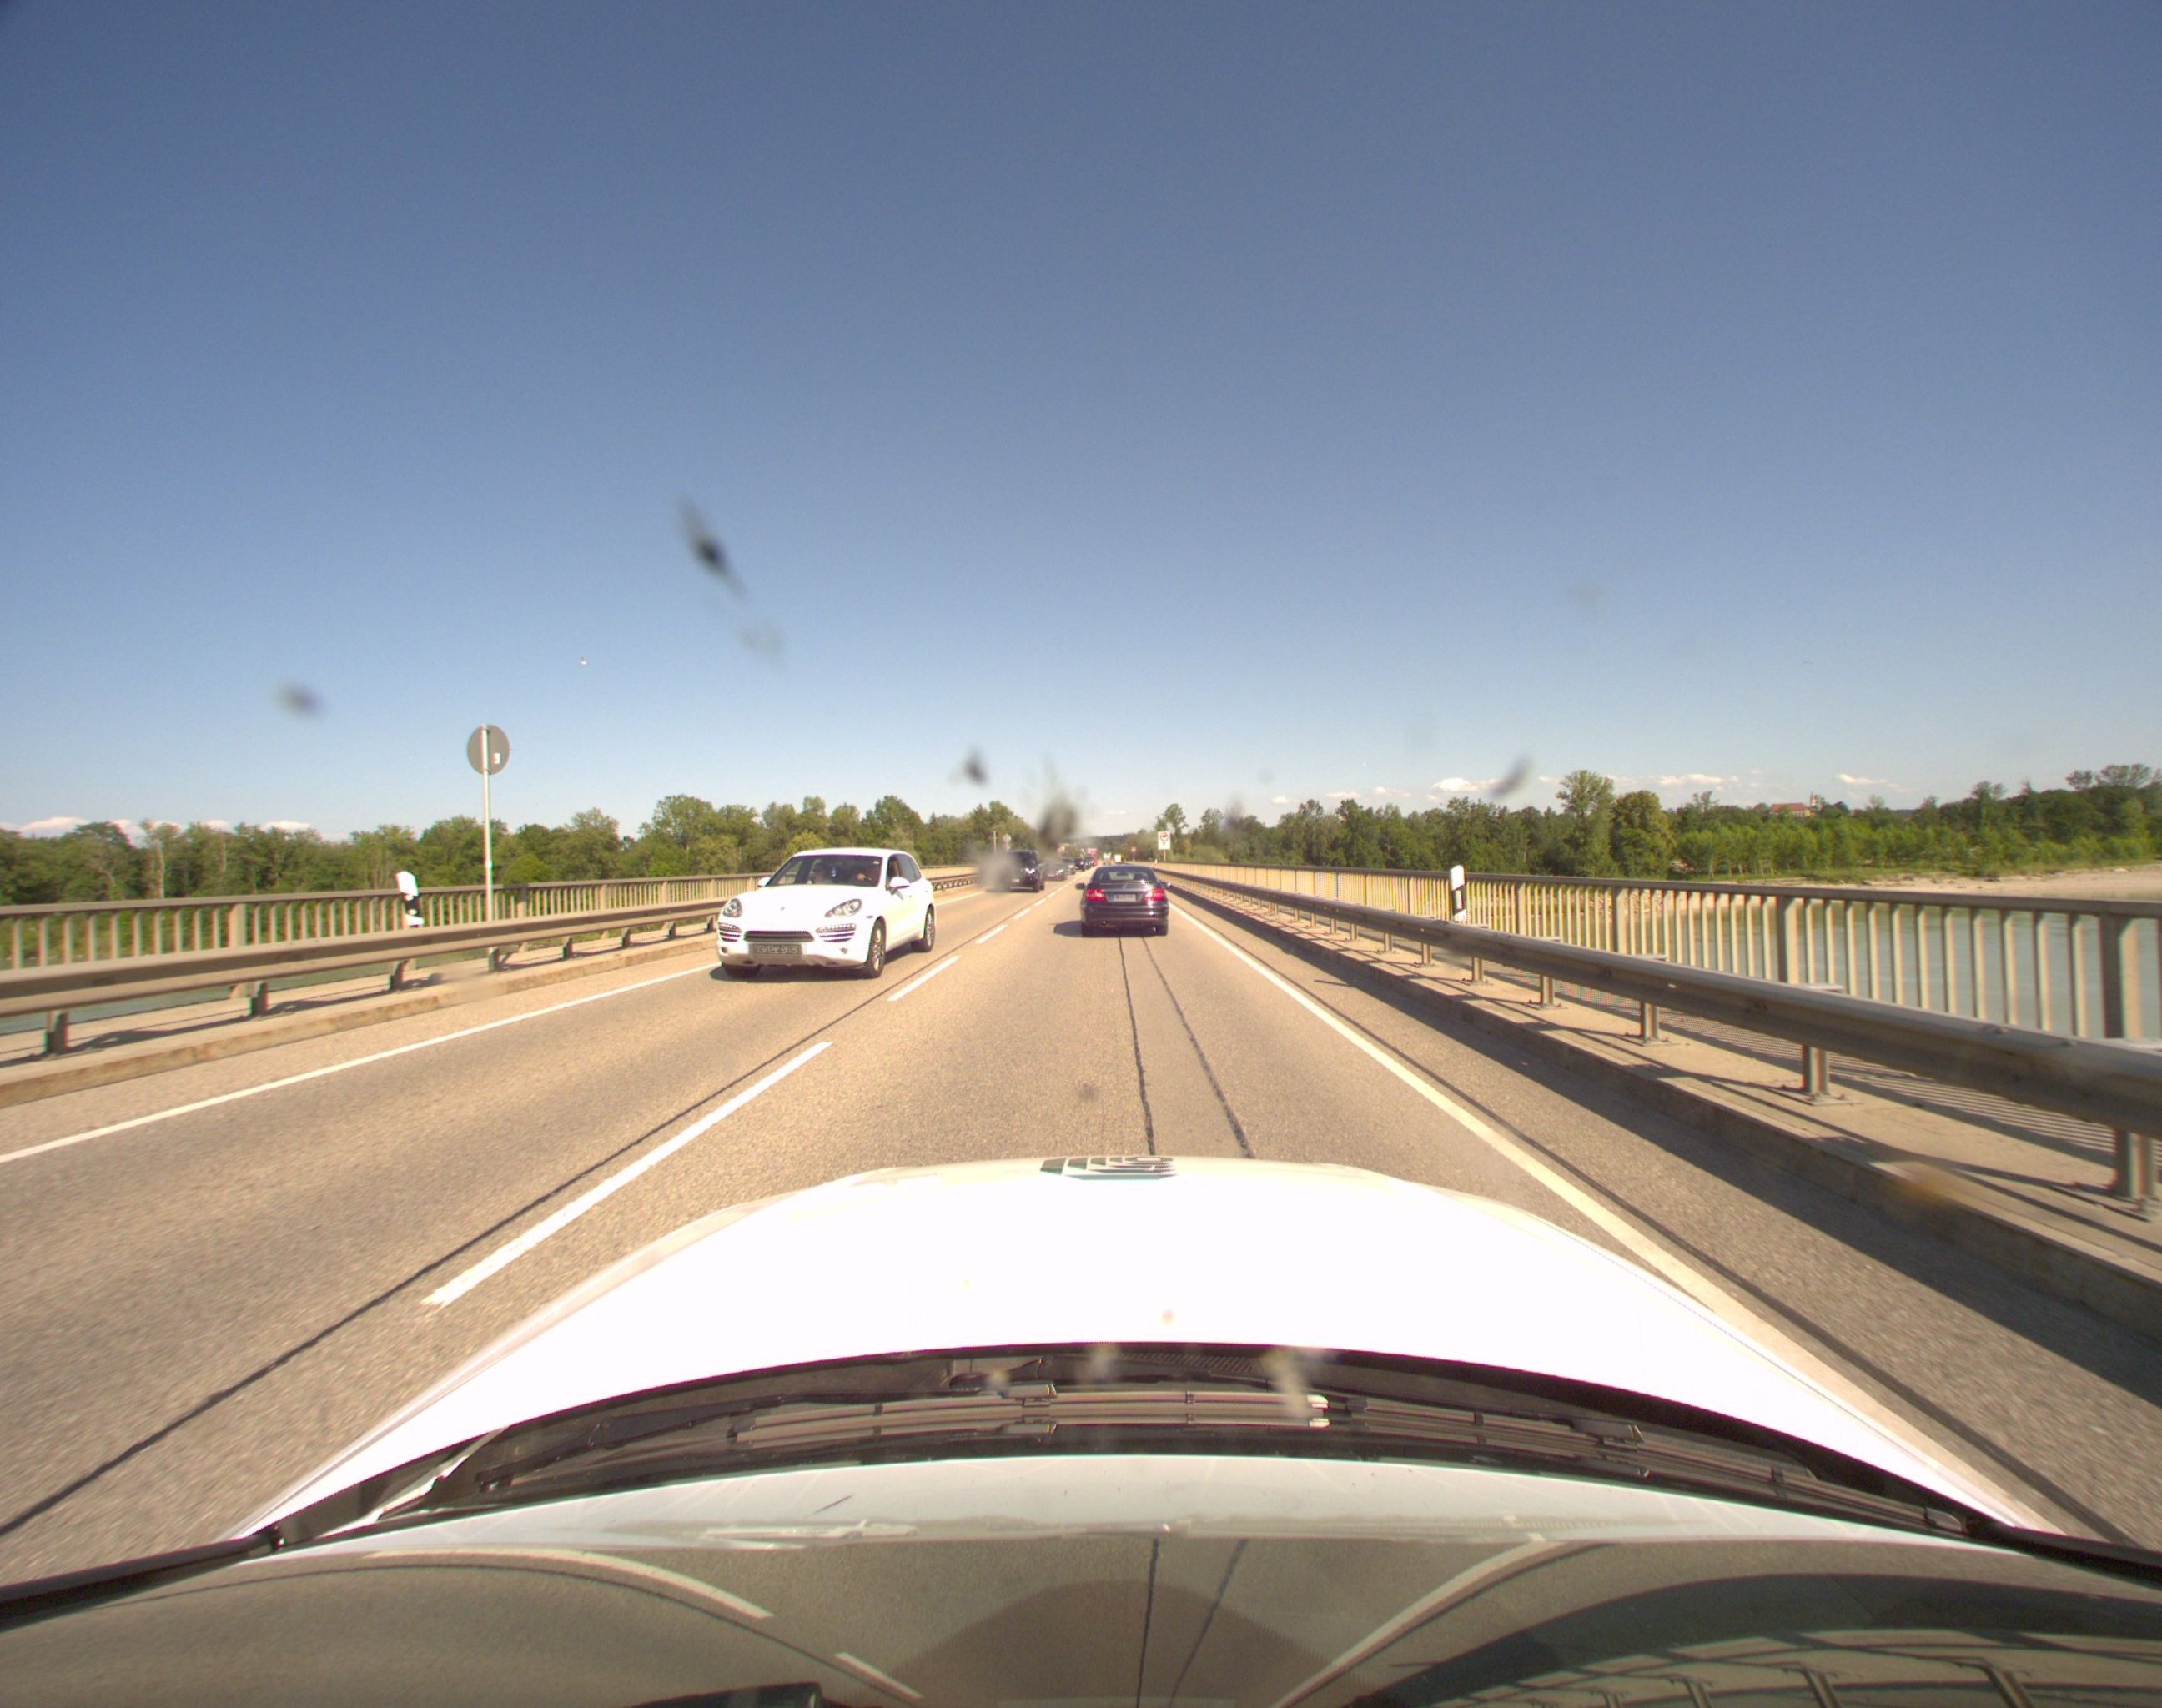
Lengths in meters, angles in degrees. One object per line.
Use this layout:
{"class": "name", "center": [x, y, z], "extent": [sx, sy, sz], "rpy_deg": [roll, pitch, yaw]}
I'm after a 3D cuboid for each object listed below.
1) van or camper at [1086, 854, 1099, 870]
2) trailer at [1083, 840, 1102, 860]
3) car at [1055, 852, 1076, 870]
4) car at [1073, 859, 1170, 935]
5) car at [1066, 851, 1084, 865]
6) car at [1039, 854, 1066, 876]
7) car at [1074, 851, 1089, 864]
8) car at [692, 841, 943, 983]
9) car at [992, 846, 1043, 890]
{"class": "van or camper", "center": [2.249, 1.474, 160.519], "extent": [2.308, 3.051, 6.815], "rpy_deg": [1, 0, 0]}
{"class": "trailer", "center": [2.803, -1.015, 199.138], "extent": [2.902, 4.301, 14.279], "rpy_deg": [6, 0, -5]}
{"class": "car", "center": [-1.499, 0.651, 79.271], "extent": [1.848, 1.722, 4.566], "rpy_deg": [1, 0, 0]}
{"class": "car", "center": [0.822, 0.801, 17.082], "extent": [1.786, 1.376, 4.002], "rpy_deg": [0, 0, 2]}
{"class": "car", "center": [-0.796, 0.457, 101.713], "extent": [2.048, 1.652, 4.718], "rpy_deg": [1, 0, -2]}
{"class": "car", "center": [-1.976, 0.776, 57.106], "extent": [1.761, 1.447, 4.453], "rpy_deg": [0, 0, -2]}
{"class": "car", "center": [0.064, 0.474, 117.491], "extent": [1.802, 1.577, 4.198], "rpy_deg": [6, 0, -2]}
{"class": "car", "center": [-3.461, 0.671, 11.781], "extent": [1.976, 1.651, 4.600], "rpy_deg": [0, 0, 2]}
{"class": "car", "center": [-2.899, 0.605, 38.147], "extent": [2.032, 1.873, 5.067], "rpy_deg": [1, 0, -1]}
